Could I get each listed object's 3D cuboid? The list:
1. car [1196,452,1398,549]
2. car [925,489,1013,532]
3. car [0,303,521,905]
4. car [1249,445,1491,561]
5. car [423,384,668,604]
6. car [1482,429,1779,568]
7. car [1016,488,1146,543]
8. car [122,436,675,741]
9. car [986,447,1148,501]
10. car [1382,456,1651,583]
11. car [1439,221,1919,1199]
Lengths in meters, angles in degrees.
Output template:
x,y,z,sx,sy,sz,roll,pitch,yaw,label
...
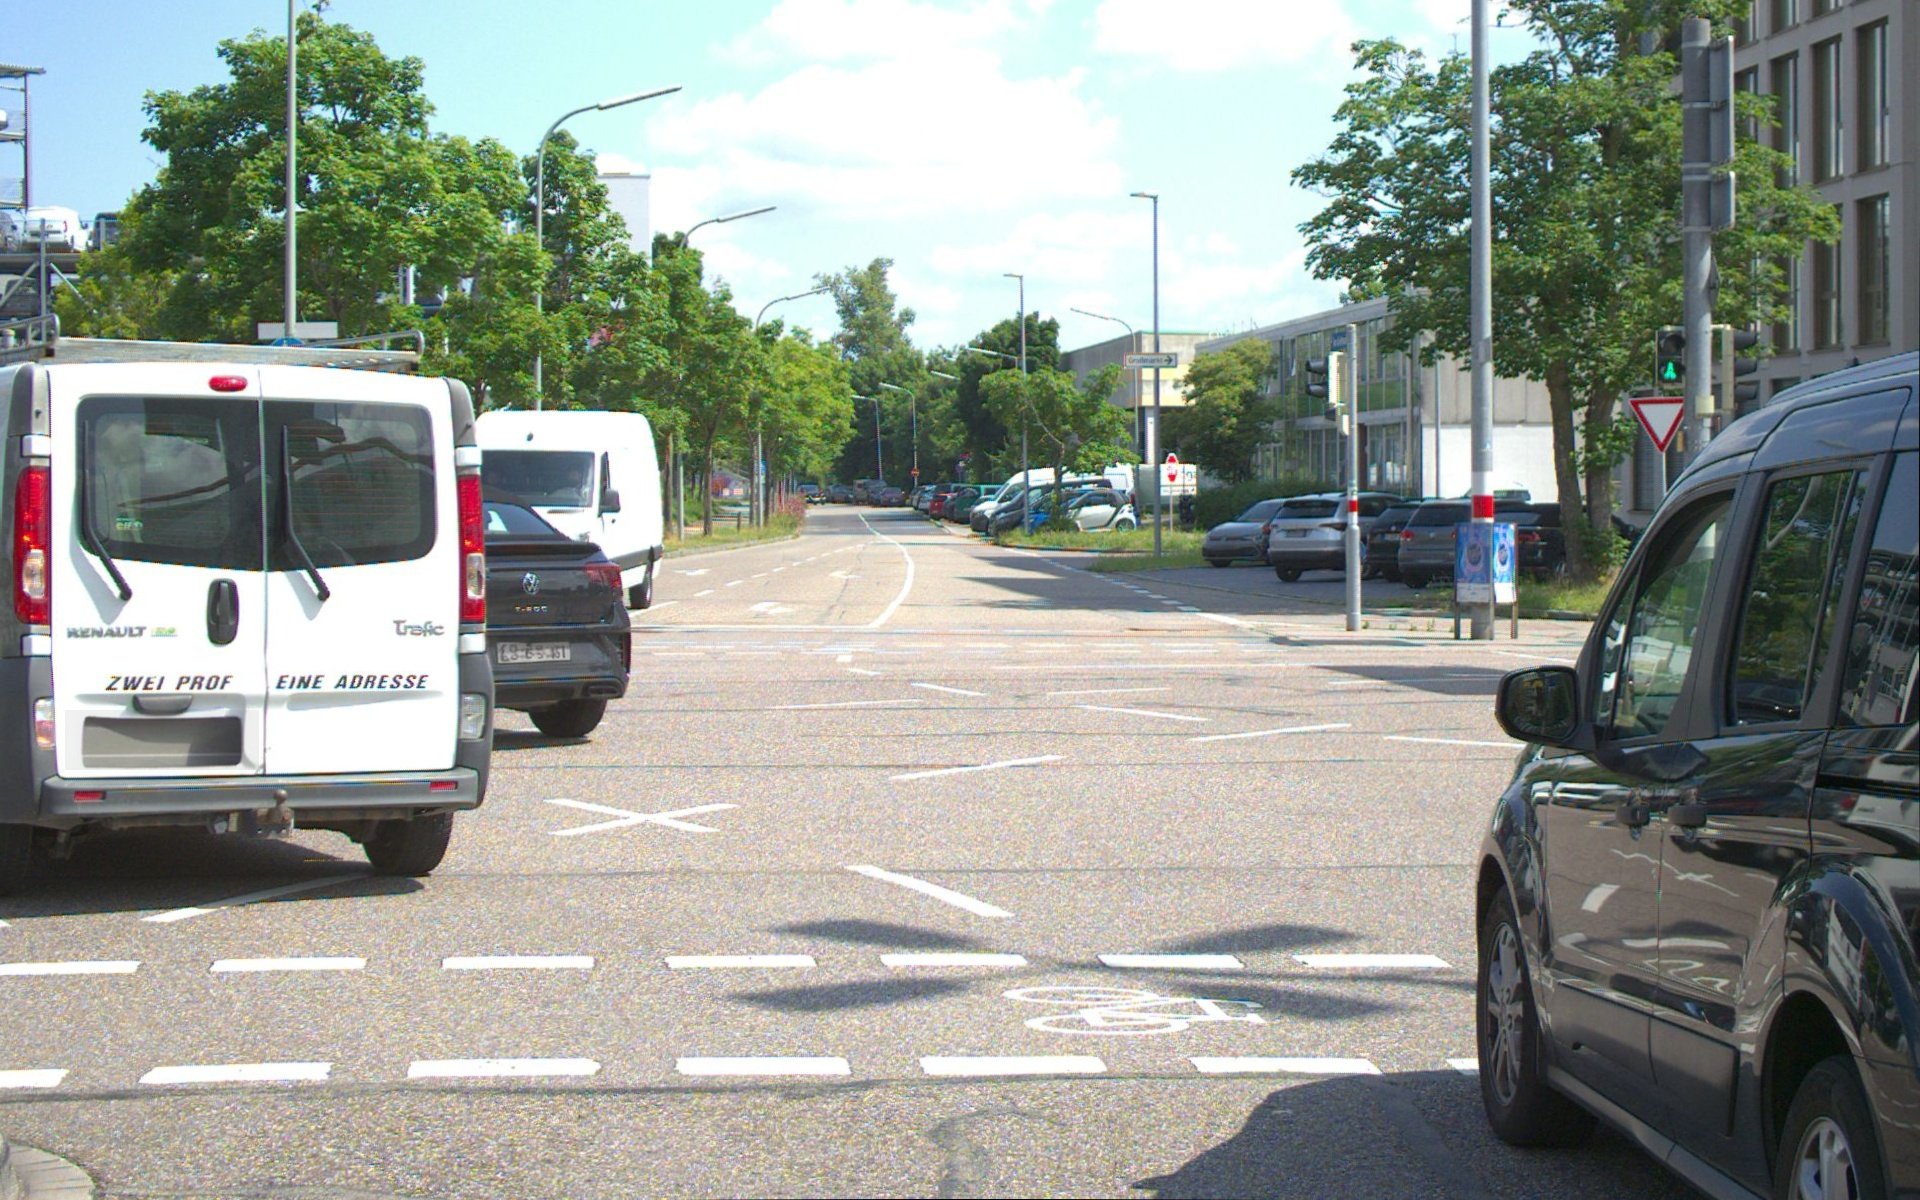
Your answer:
x,y,z,sx,sy,sz,roll,pitch,yaw,label
7.333,-2.156,75.031,3.986,2.007,2.001,1,1,-9,car
0.432,-4.370,167.758,3.986,2.007,2.001,1,1,-9,car
-3.523,-0.047,14.158,1.972,2.053,4.565,0,2,-27,car
7.493,-1.761,63.037,3.986,2.007,2.001,1,1,-9,car
-5.263,-1.324,44.657,2.133,2.598,6.863,1,1,2,car
10.256,-1.545,52.745,3.986,2.007,2.001,1,1,-9,car
4.031,-2.812,114.519,3.986,1.744,2.001,1,1,-9,car
-3.436,-0.118,20.449,1.774,1.624,4.000,0,2,-33,car
4.320,-5.109,139.407,6.340,2.007,2.573,1,1,-3,car
9.294,-1.330,57.569,3.986,2.007,2.001,1,1,-9,car
2.199,0.377,6.682,1.823,1.898,4.001,1,1,-2,car
